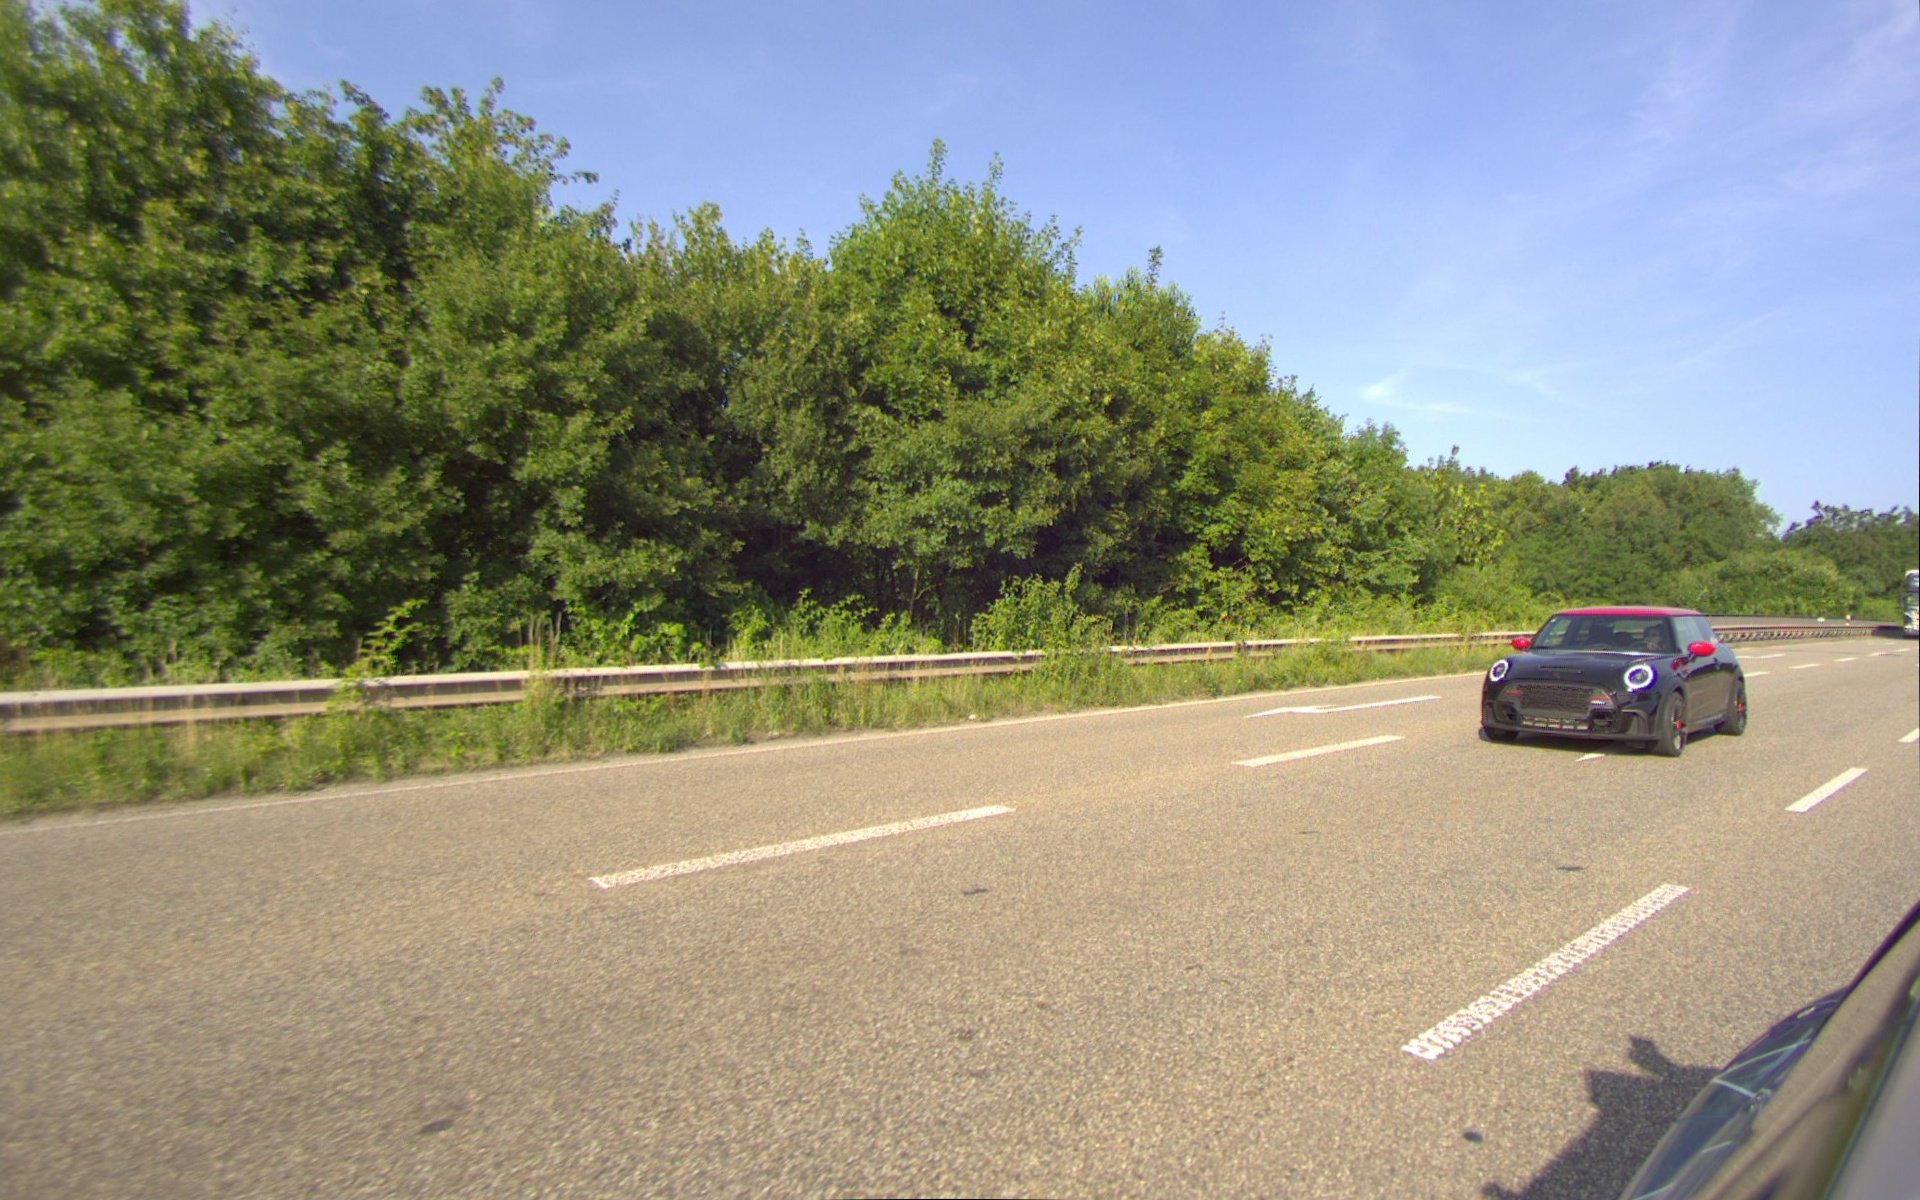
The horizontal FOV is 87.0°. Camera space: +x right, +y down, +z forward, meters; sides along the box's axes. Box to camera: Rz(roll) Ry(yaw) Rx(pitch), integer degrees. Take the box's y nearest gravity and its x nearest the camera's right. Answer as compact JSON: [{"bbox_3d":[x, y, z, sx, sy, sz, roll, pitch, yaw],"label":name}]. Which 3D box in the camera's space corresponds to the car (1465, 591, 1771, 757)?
[{"bbox_3d":[7.262,0.653,11.039,3.805,1.486,1.823,0,0,-41],"label":"car"}]

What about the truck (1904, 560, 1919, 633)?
[{"bbox_3d":[59.765,-0.228,60.623,14.309,4.070,3.194,0,0,-41],"label":"truck"}]
